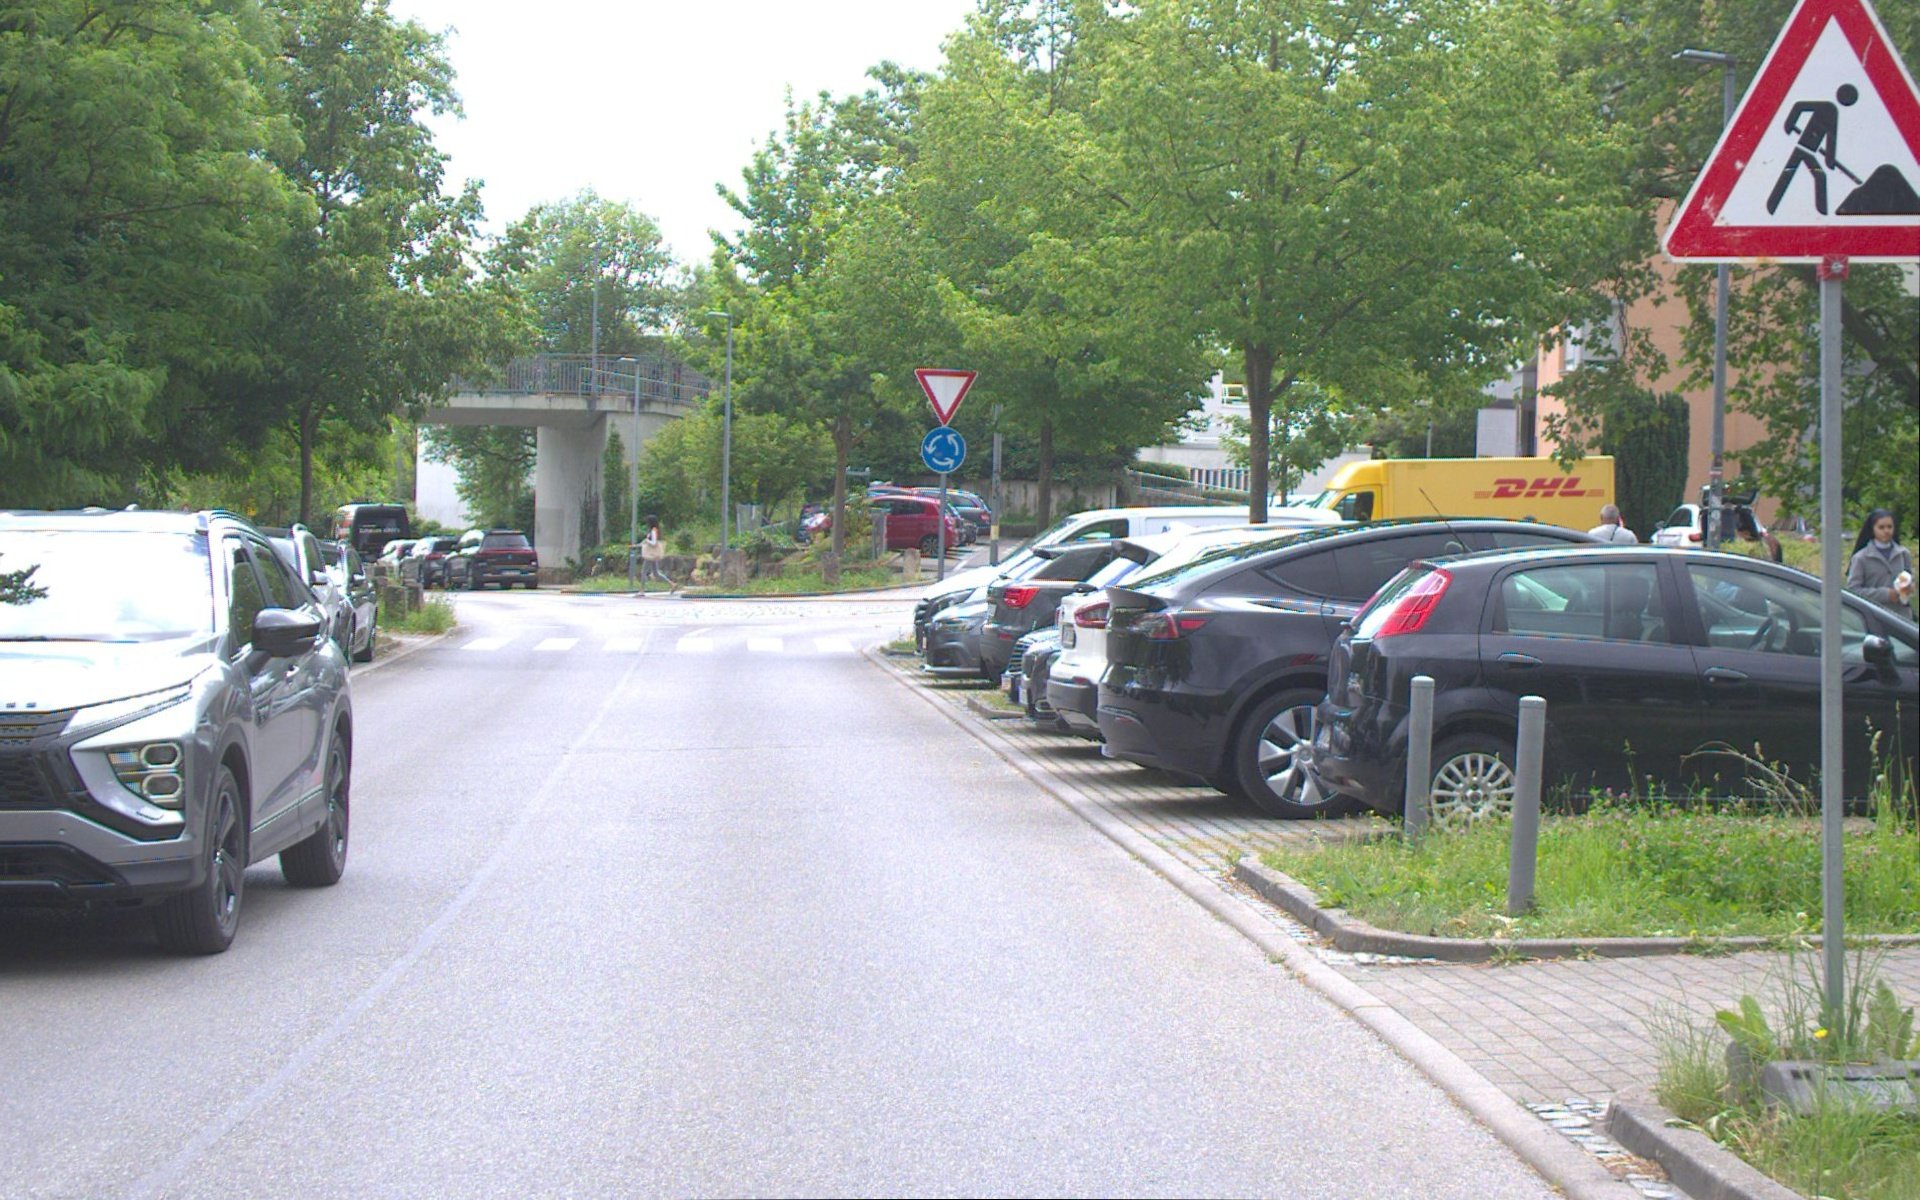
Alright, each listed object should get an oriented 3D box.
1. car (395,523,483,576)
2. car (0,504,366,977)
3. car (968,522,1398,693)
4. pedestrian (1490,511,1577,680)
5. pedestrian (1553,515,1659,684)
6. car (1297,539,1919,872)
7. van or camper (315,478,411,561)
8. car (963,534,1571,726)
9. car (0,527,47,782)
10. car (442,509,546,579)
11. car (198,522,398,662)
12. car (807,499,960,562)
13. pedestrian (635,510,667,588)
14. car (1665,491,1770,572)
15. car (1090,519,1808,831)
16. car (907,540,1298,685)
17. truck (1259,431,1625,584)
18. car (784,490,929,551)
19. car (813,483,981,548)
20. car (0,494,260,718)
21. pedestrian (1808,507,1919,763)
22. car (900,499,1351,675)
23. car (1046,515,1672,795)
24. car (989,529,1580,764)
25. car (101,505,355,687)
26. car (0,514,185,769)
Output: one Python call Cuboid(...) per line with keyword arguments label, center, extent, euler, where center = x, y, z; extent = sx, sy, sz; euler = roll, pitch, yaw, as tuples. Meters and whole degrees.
Cuboid(label="car", center=(-15.124, -1.452, 99.699), extent=(1.699, 1.491, 4.120), euler=(-1, 1, -21))
Cuboid(label="car", center=(-3.584, 0.425, 13.550), extent=(1.896, 1.577, 4.168), euler=(1, 1, -2))
Cuboid(label="car", center=(2.084, 0.049, 32.819), extent=(3.824, 1.514, 1.912), euler=(-1, 1, -5))
Cuboid(label="pedestrian", center=(5.724, -0.053, 34.324), extent=(0.688, 1.651, 0.600), euler=(1, 1, -5))
Cuboid(label="pedestrian", center=(6.453, -0.008, 34.382), extent=(0.869, 1.651, 0.593), euler=(1, 1, -5))
Cuboid(label="car", center=(3.576, 0.478, 16.666), extent=(3.670, 1.493, 1.645), euler=(1, 1, -1))
Cuboid(label="van or camper", center=(-19.191, -2.545, 110.341), extent=(1.993, 2.514, 5.472), euler=(-2, 1, -20))
Cuboid(label="car", center=(2.428, 0.215, 27.853), extent=(4.574, 1.487, 1.952), euler=(0, 1, -8))
Cuboid(label="car", center=(-6.391, 0.307, 19.084), extent=(1.689, 1.482, 3.954), euler=(4, 1, -3))
Cuboid(label="car", center=(-12.707, -1.502, 93.546), extent=(1.813, 1.673, 4.371), euler=(0, -2, -22))
Cuboid(label="car", center=(-7.835, -0.141, 41.047), extent=(1.689, 1.460, 4.457), euler=(4, 1, -3))
Cuboid(label="car", center=(-1.868, -1.724, 84.878), extent=(3.650, 1.434, 1.684), euler=(1, 2, 2))
Cuboid(label="pedestrian", center=(-6.864, -1.140, 76.319), extent=(0.657, 1.716, 0.739), euler=(1, 1, -4))
Cuboid(label="car", center=(16.068, -1.474, 73.088), extent=(1.568, 1.653, 3.777), euler=(-1, 1, 3))
Cuboid(label="car", center=(2.611, 0.379, 18.928), extent=(3.670, 1.569, 1.593), euler=(1, 3, -1))
Cuboid(label="car", center=(1.401, 0.110, 35.001), extent=(3.824, 1.366, 1.843), euler=(-1, 1, -2))
Cuboid(label="truck", center=(9.526, -1.812, 68.377), extent=(6.801, 2.694, 2.474), euler=(0, -5, -4))
Cuboid(label="car", center=(-2.701, -2.085, 90.155), extent=(3.650, 1.493, 1.684), euler=(1, 1, 2))
Cuboid(label="car", center=(-1.721, -2.337, 94.943), extent=(4.543, 1.662, 1.945), euler=(1, 2, 0))
Cuboid(label="car", center=(-7.275, -0.016, 29.428), extent=(1.807, 1.659, 4.438), euler=(4, 1, -3))
Cuboid(label="pedestrian", center=(6.588, 0.240, 24.595), extent=(0.739, 1.786, 0.878), euler=(1, 1, -3))
Cuboid(label="car", center=(1.792, -0.163, 38.141), extent=(4.773, 1.825, 1.843), euler=(-1, 1, -5))
Cuboid(label="car", center=(2.427, 0.311, 21.625), extent=(3.670, 1.641, 1.852), euler=(1, 1, -1))
Cuboid(label="car", center=(2.259, 0.304, 24.443), extent=(3.987, 1.514, 1.884), euler=(1, 1, 3))
Cuboid(label="car", center=(-7.410, -0.097, 35.200), extent=(1.799, 1.610, 4.479), euler=(4, 1, -3))
Cuboid(label="car", center=(-6.647, 0.202, 23.915), extent=(1.689, 1.506, 4.231), euler=(4, 1, -3))
